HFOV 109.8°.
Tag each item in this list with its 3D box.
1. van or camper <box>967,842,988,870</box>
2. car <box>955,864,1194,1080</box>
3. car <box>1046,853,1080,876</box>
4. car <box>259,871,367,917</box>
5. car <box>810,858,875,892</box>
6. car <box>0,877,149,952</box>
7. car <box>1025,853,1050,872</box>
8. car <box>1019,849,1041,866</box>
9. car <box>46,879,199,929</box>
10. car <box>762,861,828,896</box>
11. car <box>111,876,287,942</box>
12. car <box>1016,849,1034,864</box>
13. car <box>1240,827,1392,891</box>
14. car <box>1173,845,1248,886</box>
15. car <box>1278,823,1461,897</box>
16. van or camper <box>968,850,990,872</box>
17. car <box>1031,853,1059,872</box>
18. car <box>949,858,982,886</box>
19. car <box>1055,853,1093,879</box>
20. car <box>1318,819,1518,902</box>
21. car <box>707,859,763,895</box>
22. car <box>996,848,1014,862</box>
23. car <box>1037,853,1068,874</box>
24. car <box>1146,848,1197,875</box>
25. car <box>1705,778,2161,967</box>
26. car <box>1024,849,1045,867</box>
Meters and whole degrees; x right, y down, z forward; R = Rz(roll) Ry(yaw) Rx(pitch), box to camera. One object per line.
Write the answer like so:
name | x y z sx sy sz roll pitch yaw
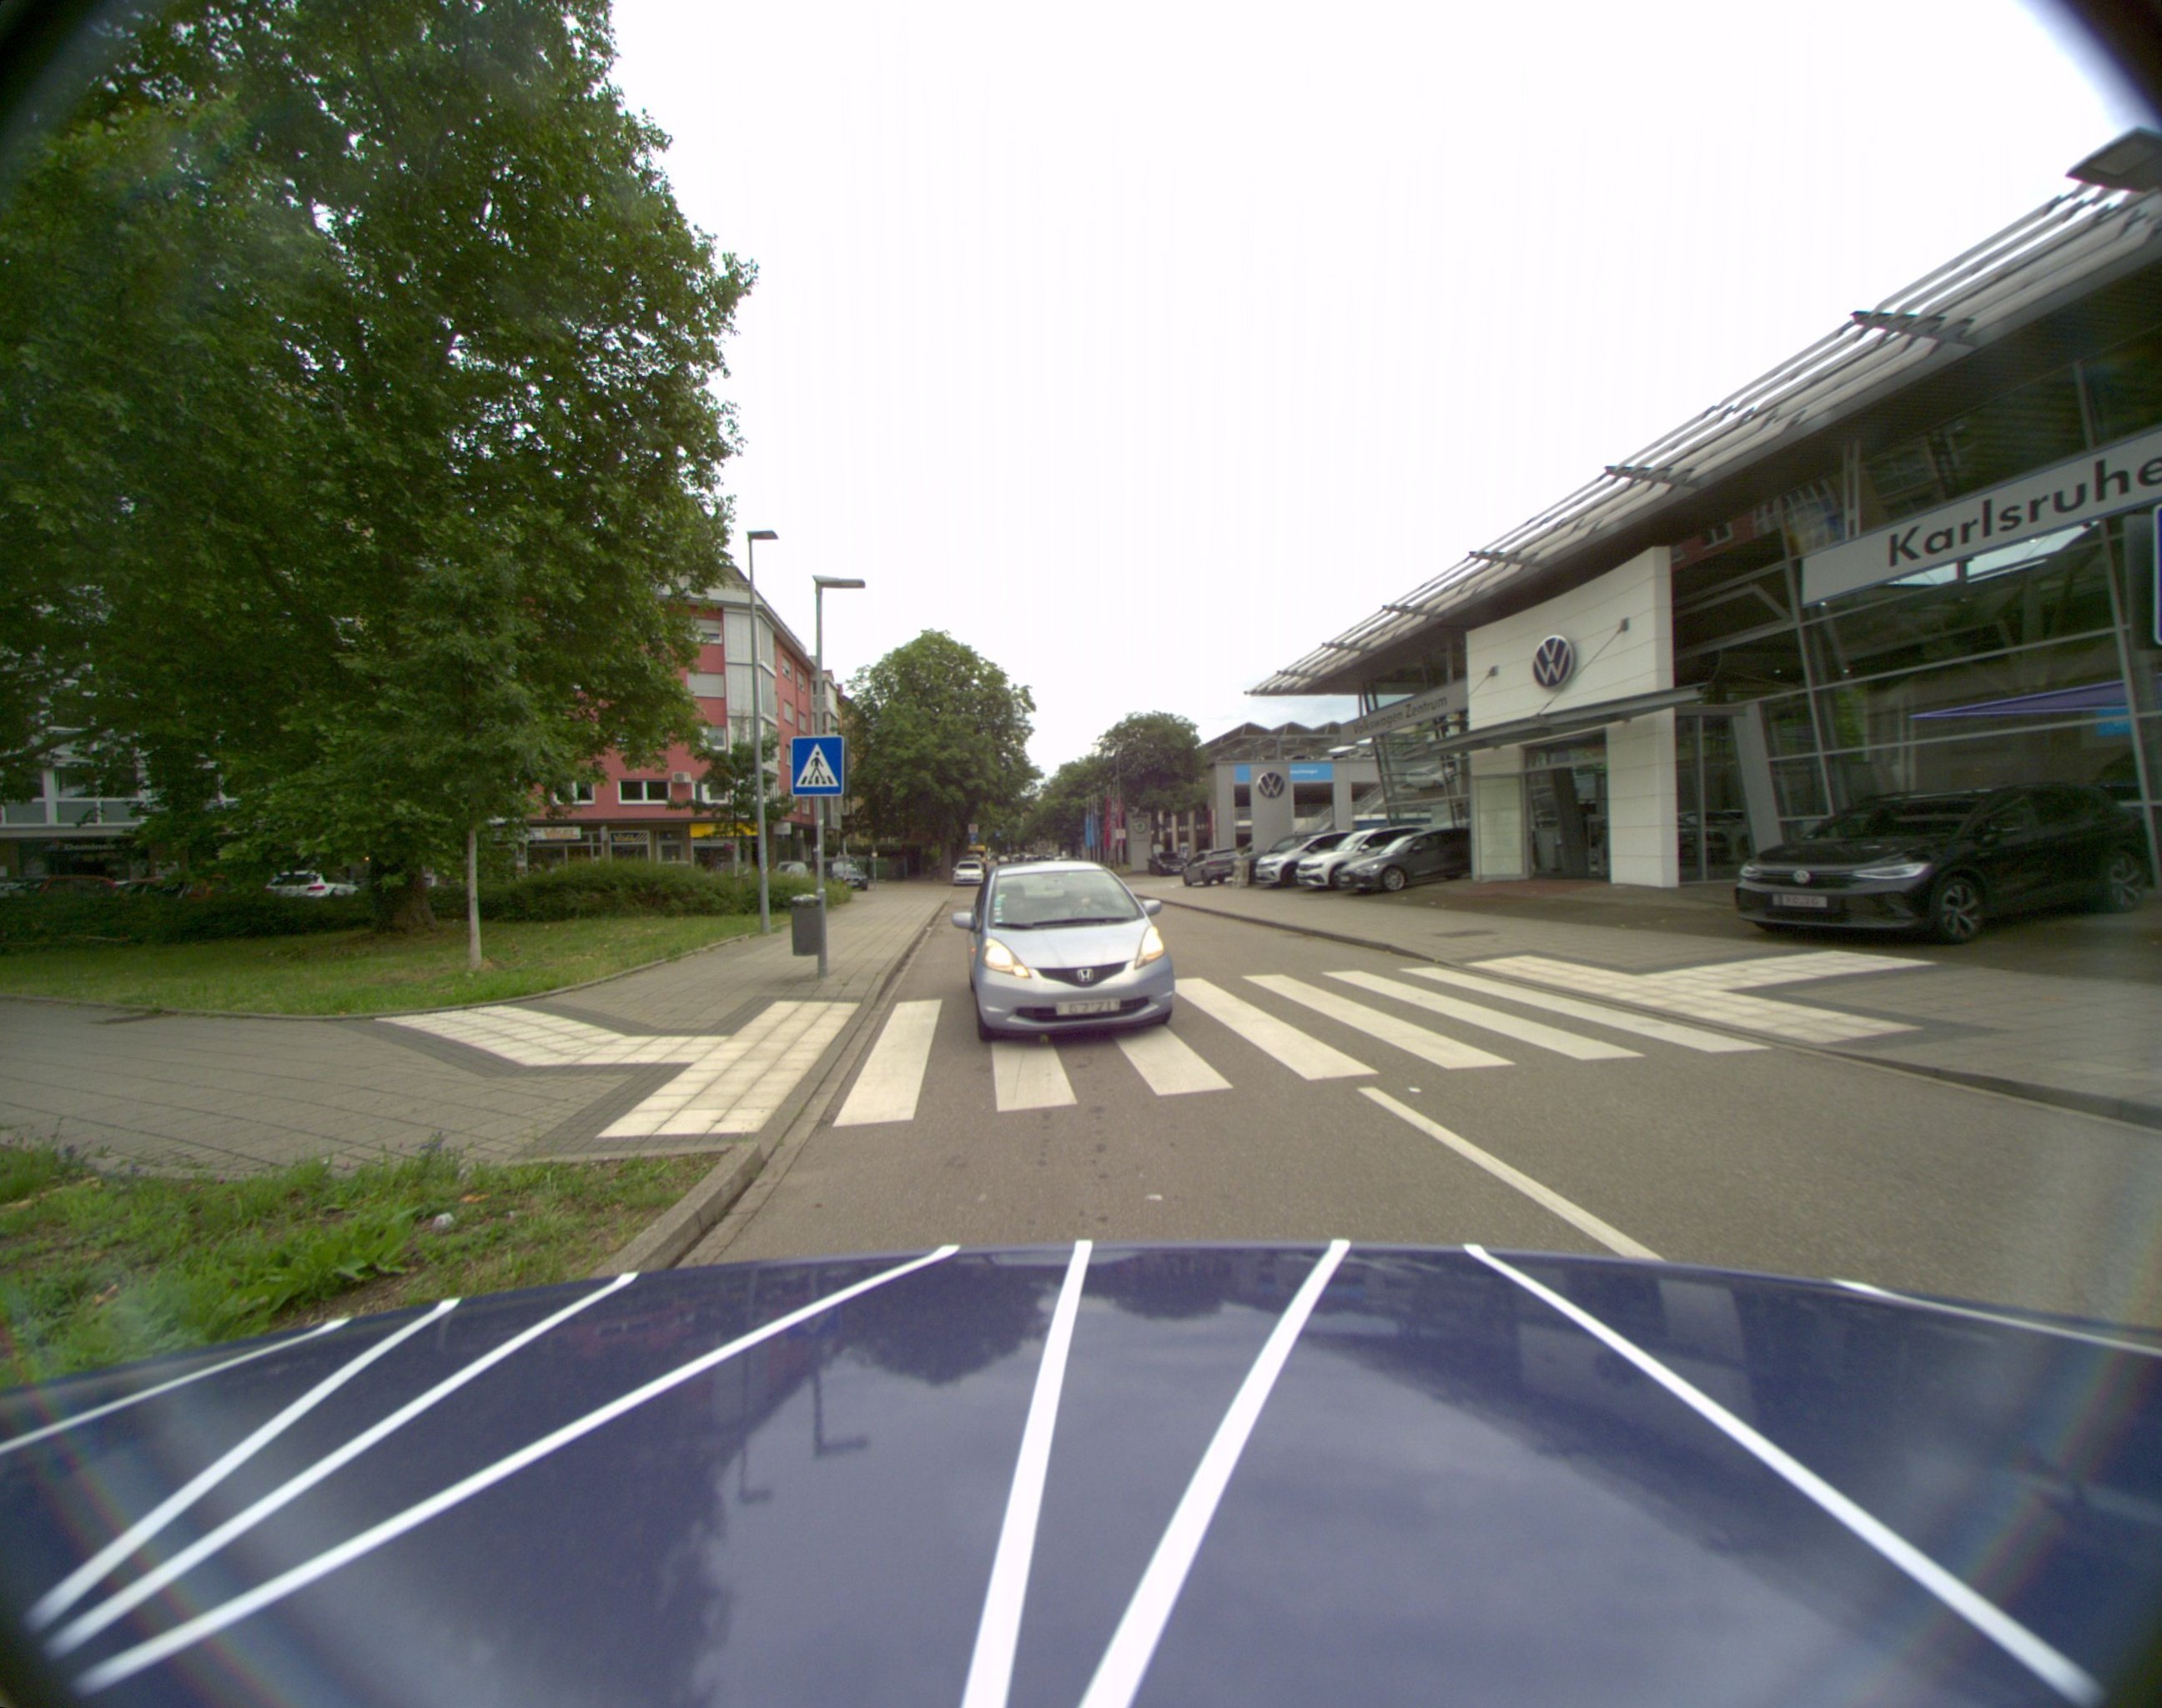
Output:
van or camper | -10.663 0.182 78.150 2.000 2.756 3.997 -2 0 -7
car | -0.355 0.907 7.814 1.755 1.458 4.094 -4 1 -9
car | -1.433 0.772 59.092 1.861 1.614 4.471 -3 1 -10
car | -29.973 1.506 29.814 1.864 1.539 4.465 -2 0 -31
car | -12.314 1.050 39.052 1.864 1.539 4.463 -3 2 -36
car | -27.003 1.519 19.867 1.864 1.712 4.465 -2 0 -31
car | -4.255 0.791 73.846 1.861 1.614 4.471 -3 1 -10
car | -6.213 0.411 92.183 2.023 1.974 4.778 -3 1 -10
car | -34.014 1.701 27.158 1.864 1.481 4.465 -2 0 -31
car | -14.464 1.179 38.245 1.864 1.539 4.463 -3 2 -37
car | -24.597 1.447 21.436 1.864 1.539 4.465 -2 0 -31
car | -7.904 0.302 106.970 2.023 1.974 4.778 -3 1 -10
car | 7.962 0.166 25.991 4.475 1.689 1.868 -6 1 -8
car | 5.542 0.490 33.086 1.920 1.554 4.011 -3 0 -10
car | 8.680 0.163 23.022 4.774 1.689 1.860 -6 1 -8
van or camper | -9.837 0.650 73.343 2.000 2.002 3.997 -2 0 -7
car | -3.327 0.746 69.075 1.861 1.614 4.471 -3 1 -10
car | -6.963 1.049 45.846 1.861 1.539 4.472 -1 0 -8
car | -0.563 0.801 53.317 1.861 1.614 4.471 -3 1 -10
car | 8.931 0.147 20.304 4.475 1.687 1.896 -6 1 -9
car | -16.744 1.065 36.667 1.864 1.539 4.465 -2 0 -32
car | -11.002 0.118 109.785 2.023 1.974 4.778 -3 1 -10
car | -2.441 0.761 64.236 1.861 1.614 4.471 -3 1 -10
car | 5.638 0.429 47.906 1.899 1.539 4.471 -3 1 -10
car | 10.336 0.155 9.220 4.510 1.623 1.859 -6 1 -14
car | -5.327 0.435 86.506 1.861 1.974 4.471 -3 1 -10
